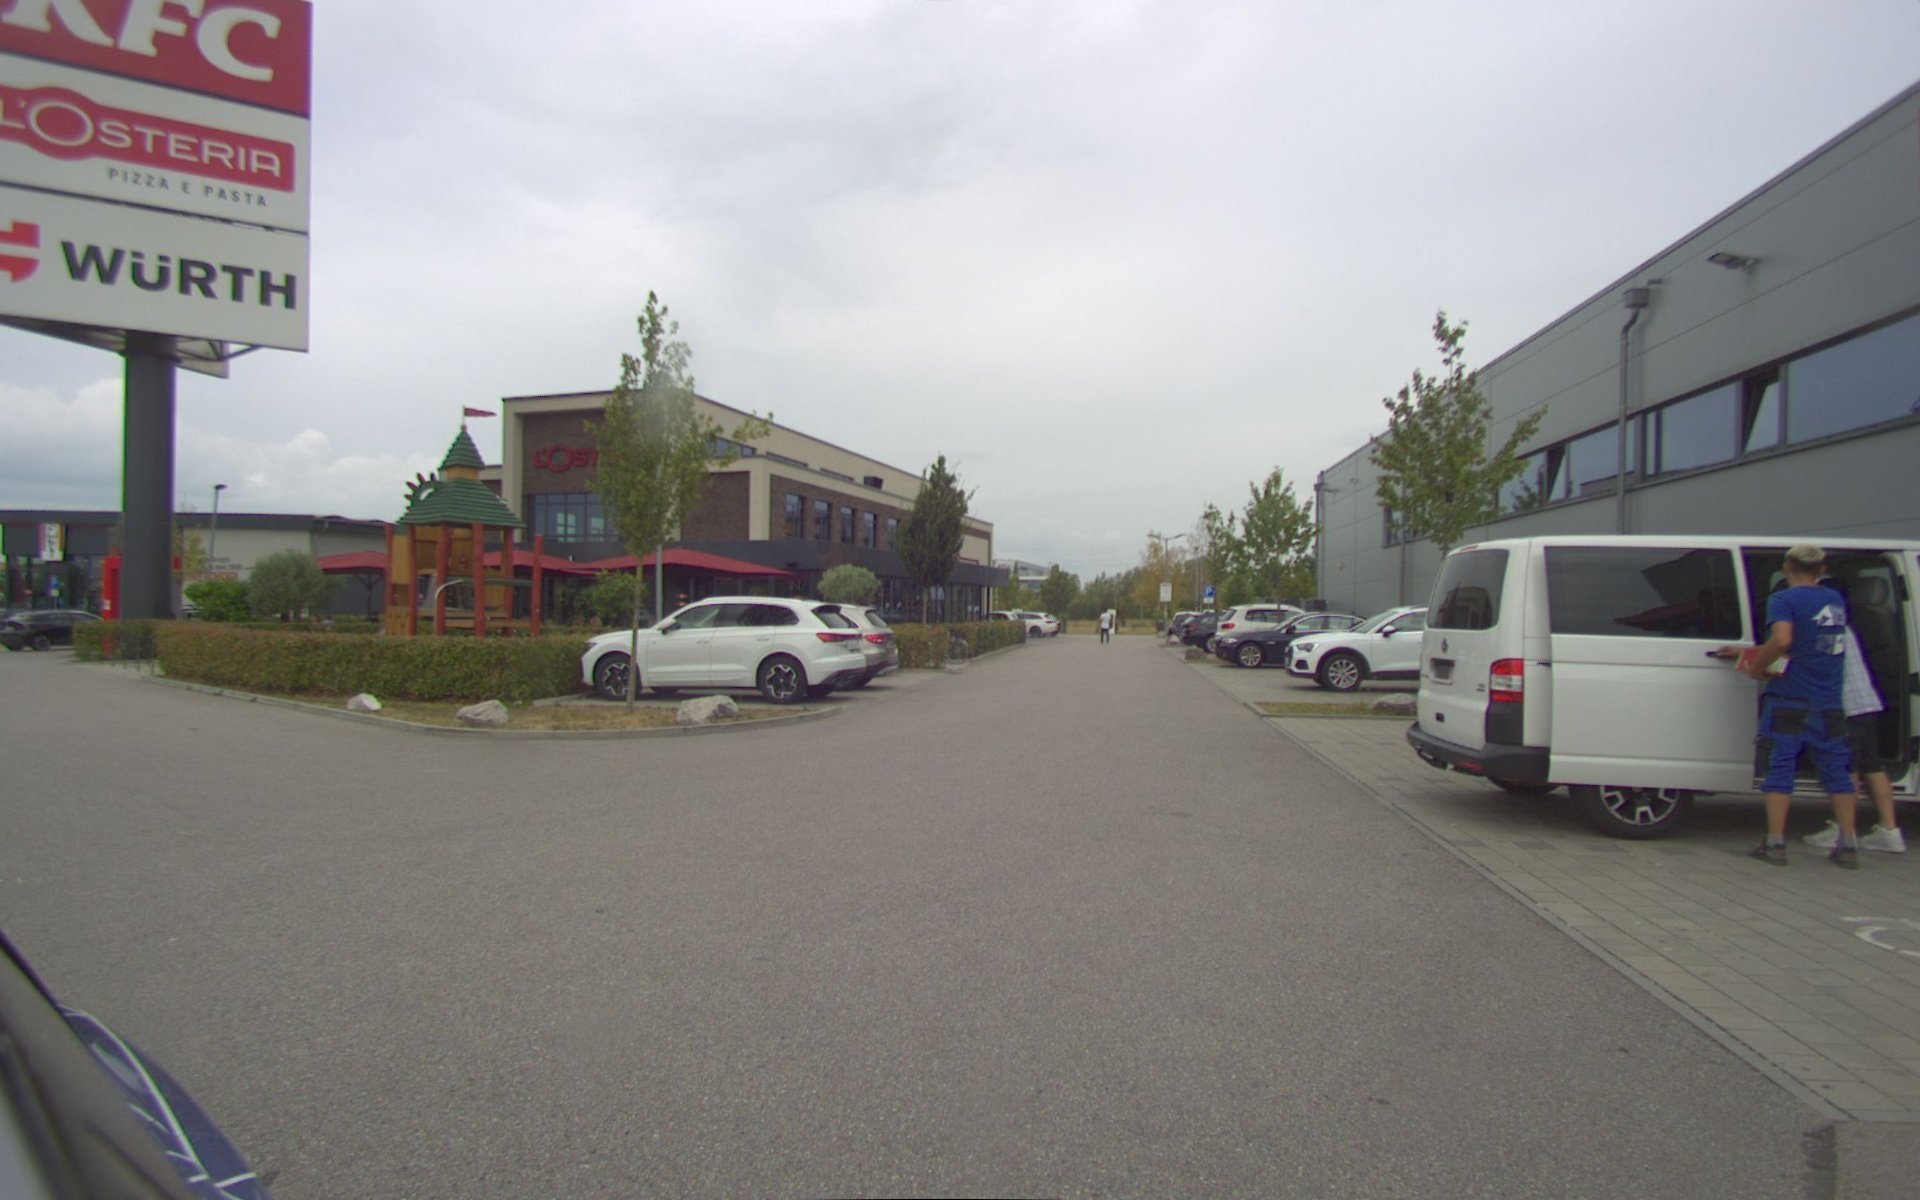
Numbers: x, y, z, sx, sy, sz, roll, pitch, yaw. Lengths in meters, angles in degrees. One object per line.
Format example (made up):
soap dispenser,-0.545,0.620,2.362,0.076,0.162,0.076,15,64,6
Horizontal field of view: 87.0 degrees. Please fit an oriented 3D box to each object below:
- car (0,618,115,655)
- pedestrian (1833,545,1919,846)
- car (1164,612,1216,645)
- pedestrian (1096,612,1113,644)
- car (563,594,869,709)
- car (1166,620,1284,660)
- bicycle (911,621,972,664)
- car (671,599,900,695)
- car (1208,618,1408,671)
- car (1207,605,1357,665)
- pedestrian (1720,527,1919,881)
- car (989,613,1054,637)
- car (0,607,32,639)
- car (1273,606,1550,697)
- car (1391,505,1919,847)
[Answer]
car,-35.564,1.398,39.690,1.491,1.305,3.415,0,0,24
pedestrian,5.634,0.547,6.050,0.356,1.715,0.583,0,-1,11
car,10.388,1.260,45.623,1.799,1.453,3.973,0,-1,20
pedestrian,6.429,1.231,44.949,0.690,1.387,0.703,0,-1,14
car,-4.011,0.813,16.886,4.692,1.762,1.752,0,-1,12
car,9.219,1.387,35.449,3.662,1.354,1.774,0,0,3
bicycle,-0.537,1.247,29.800,1.778,1.228,0.693,0,0,3
car,-3.311,0.850,19.550,3.958,1.719,1.904,0,0,12
car,8.855,1.121,26.158,4.693,1.271,1.751,0,-1,12
car,9.604,1.030,30.453,3.951,1.719,1.996,0,0,6
pedestrian,4.817,0.549,5.690,0.615,1.870,0.590,0,0,-8
car,3.540,1.442,58.469,3.662,1.354,1.774,0,0,3
car,-56.619,1.354,58.522,1.989,1.852,3.966,0,0,25
car,8.148,0.897,18.689,4.367,1.567,1.751,0,-1,12
car,5.739,0.452,6.964,4.701,2.029,1.934,0,0,7
